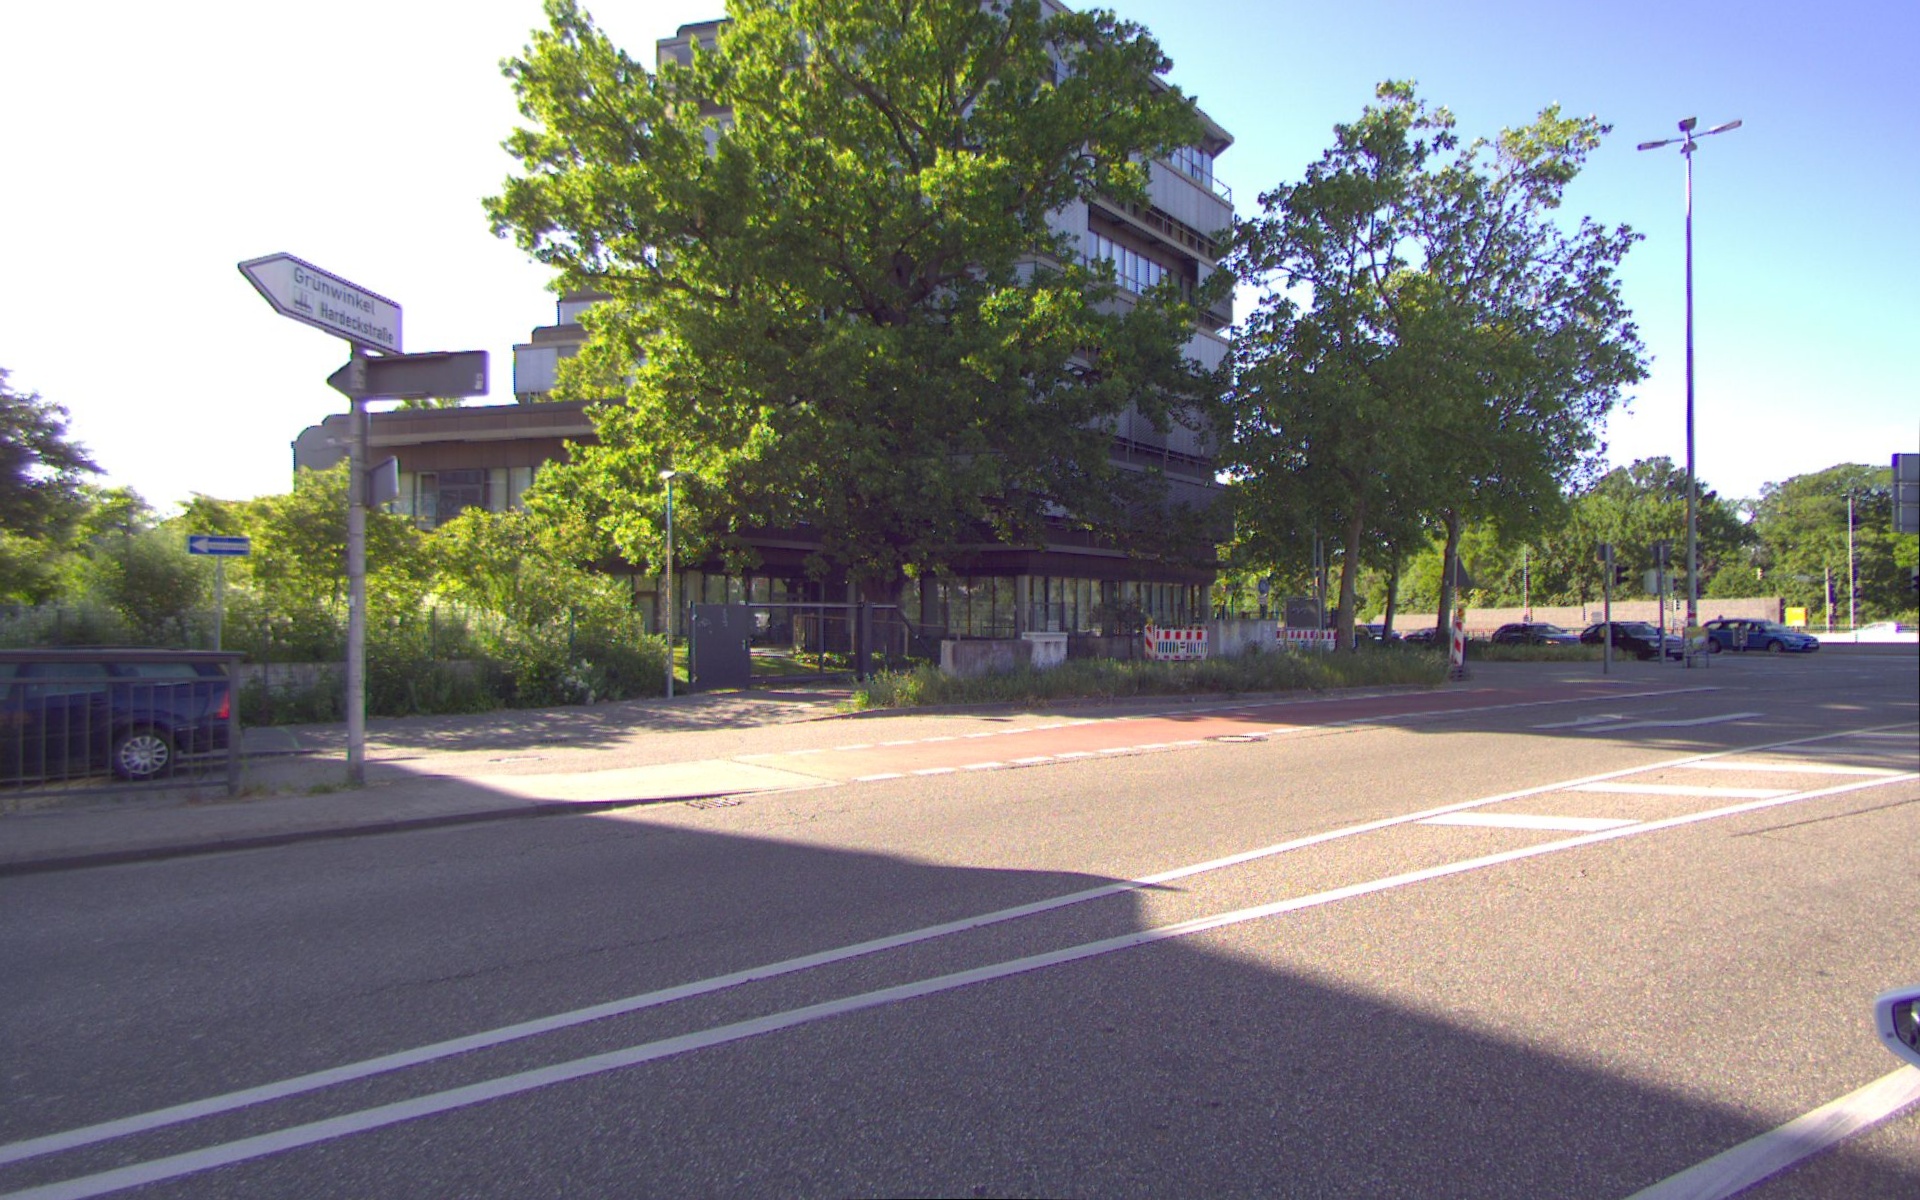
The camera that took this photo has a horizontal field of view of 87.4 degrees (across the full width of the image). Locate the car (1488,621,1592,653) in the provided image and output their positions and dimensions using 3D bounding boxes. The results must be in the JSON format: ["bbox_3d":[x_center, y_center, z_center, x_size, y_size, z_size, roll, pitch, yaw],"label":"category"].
[{"bbox_3d":[26.115,1.631,45.396,1.844,1.376,4.507,0,-1,-4],"label":"car"}]

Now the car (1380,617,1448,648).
[{"bbox_3d":[26.095,1.849,57.903,1.843,1.666,4.509,0,-1,-1],"label":"car"}]

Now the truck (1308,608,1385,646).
[{"bbox_3d":[25.540,1.761,66.694,2.121,2.391,7.515,0,-1,-1],"label":"truck"}]

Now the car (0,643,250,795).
[{"bbox_3d":[-10.703,1.351,11.332,4.339,1.528,1.642,-1,-2,-38],"label":"car"}]

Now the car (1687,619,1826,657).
[{"bbox_3d":[34.353,1.609,43.510,1.919,1.561,4.443,0,-1,-16],"label":"car"}]

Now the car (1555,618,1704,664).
[{"bbox_3d":[25.832,1.530,38.989,1.918,1.643,4.773,0,-1,-13],"label":"car"}]
